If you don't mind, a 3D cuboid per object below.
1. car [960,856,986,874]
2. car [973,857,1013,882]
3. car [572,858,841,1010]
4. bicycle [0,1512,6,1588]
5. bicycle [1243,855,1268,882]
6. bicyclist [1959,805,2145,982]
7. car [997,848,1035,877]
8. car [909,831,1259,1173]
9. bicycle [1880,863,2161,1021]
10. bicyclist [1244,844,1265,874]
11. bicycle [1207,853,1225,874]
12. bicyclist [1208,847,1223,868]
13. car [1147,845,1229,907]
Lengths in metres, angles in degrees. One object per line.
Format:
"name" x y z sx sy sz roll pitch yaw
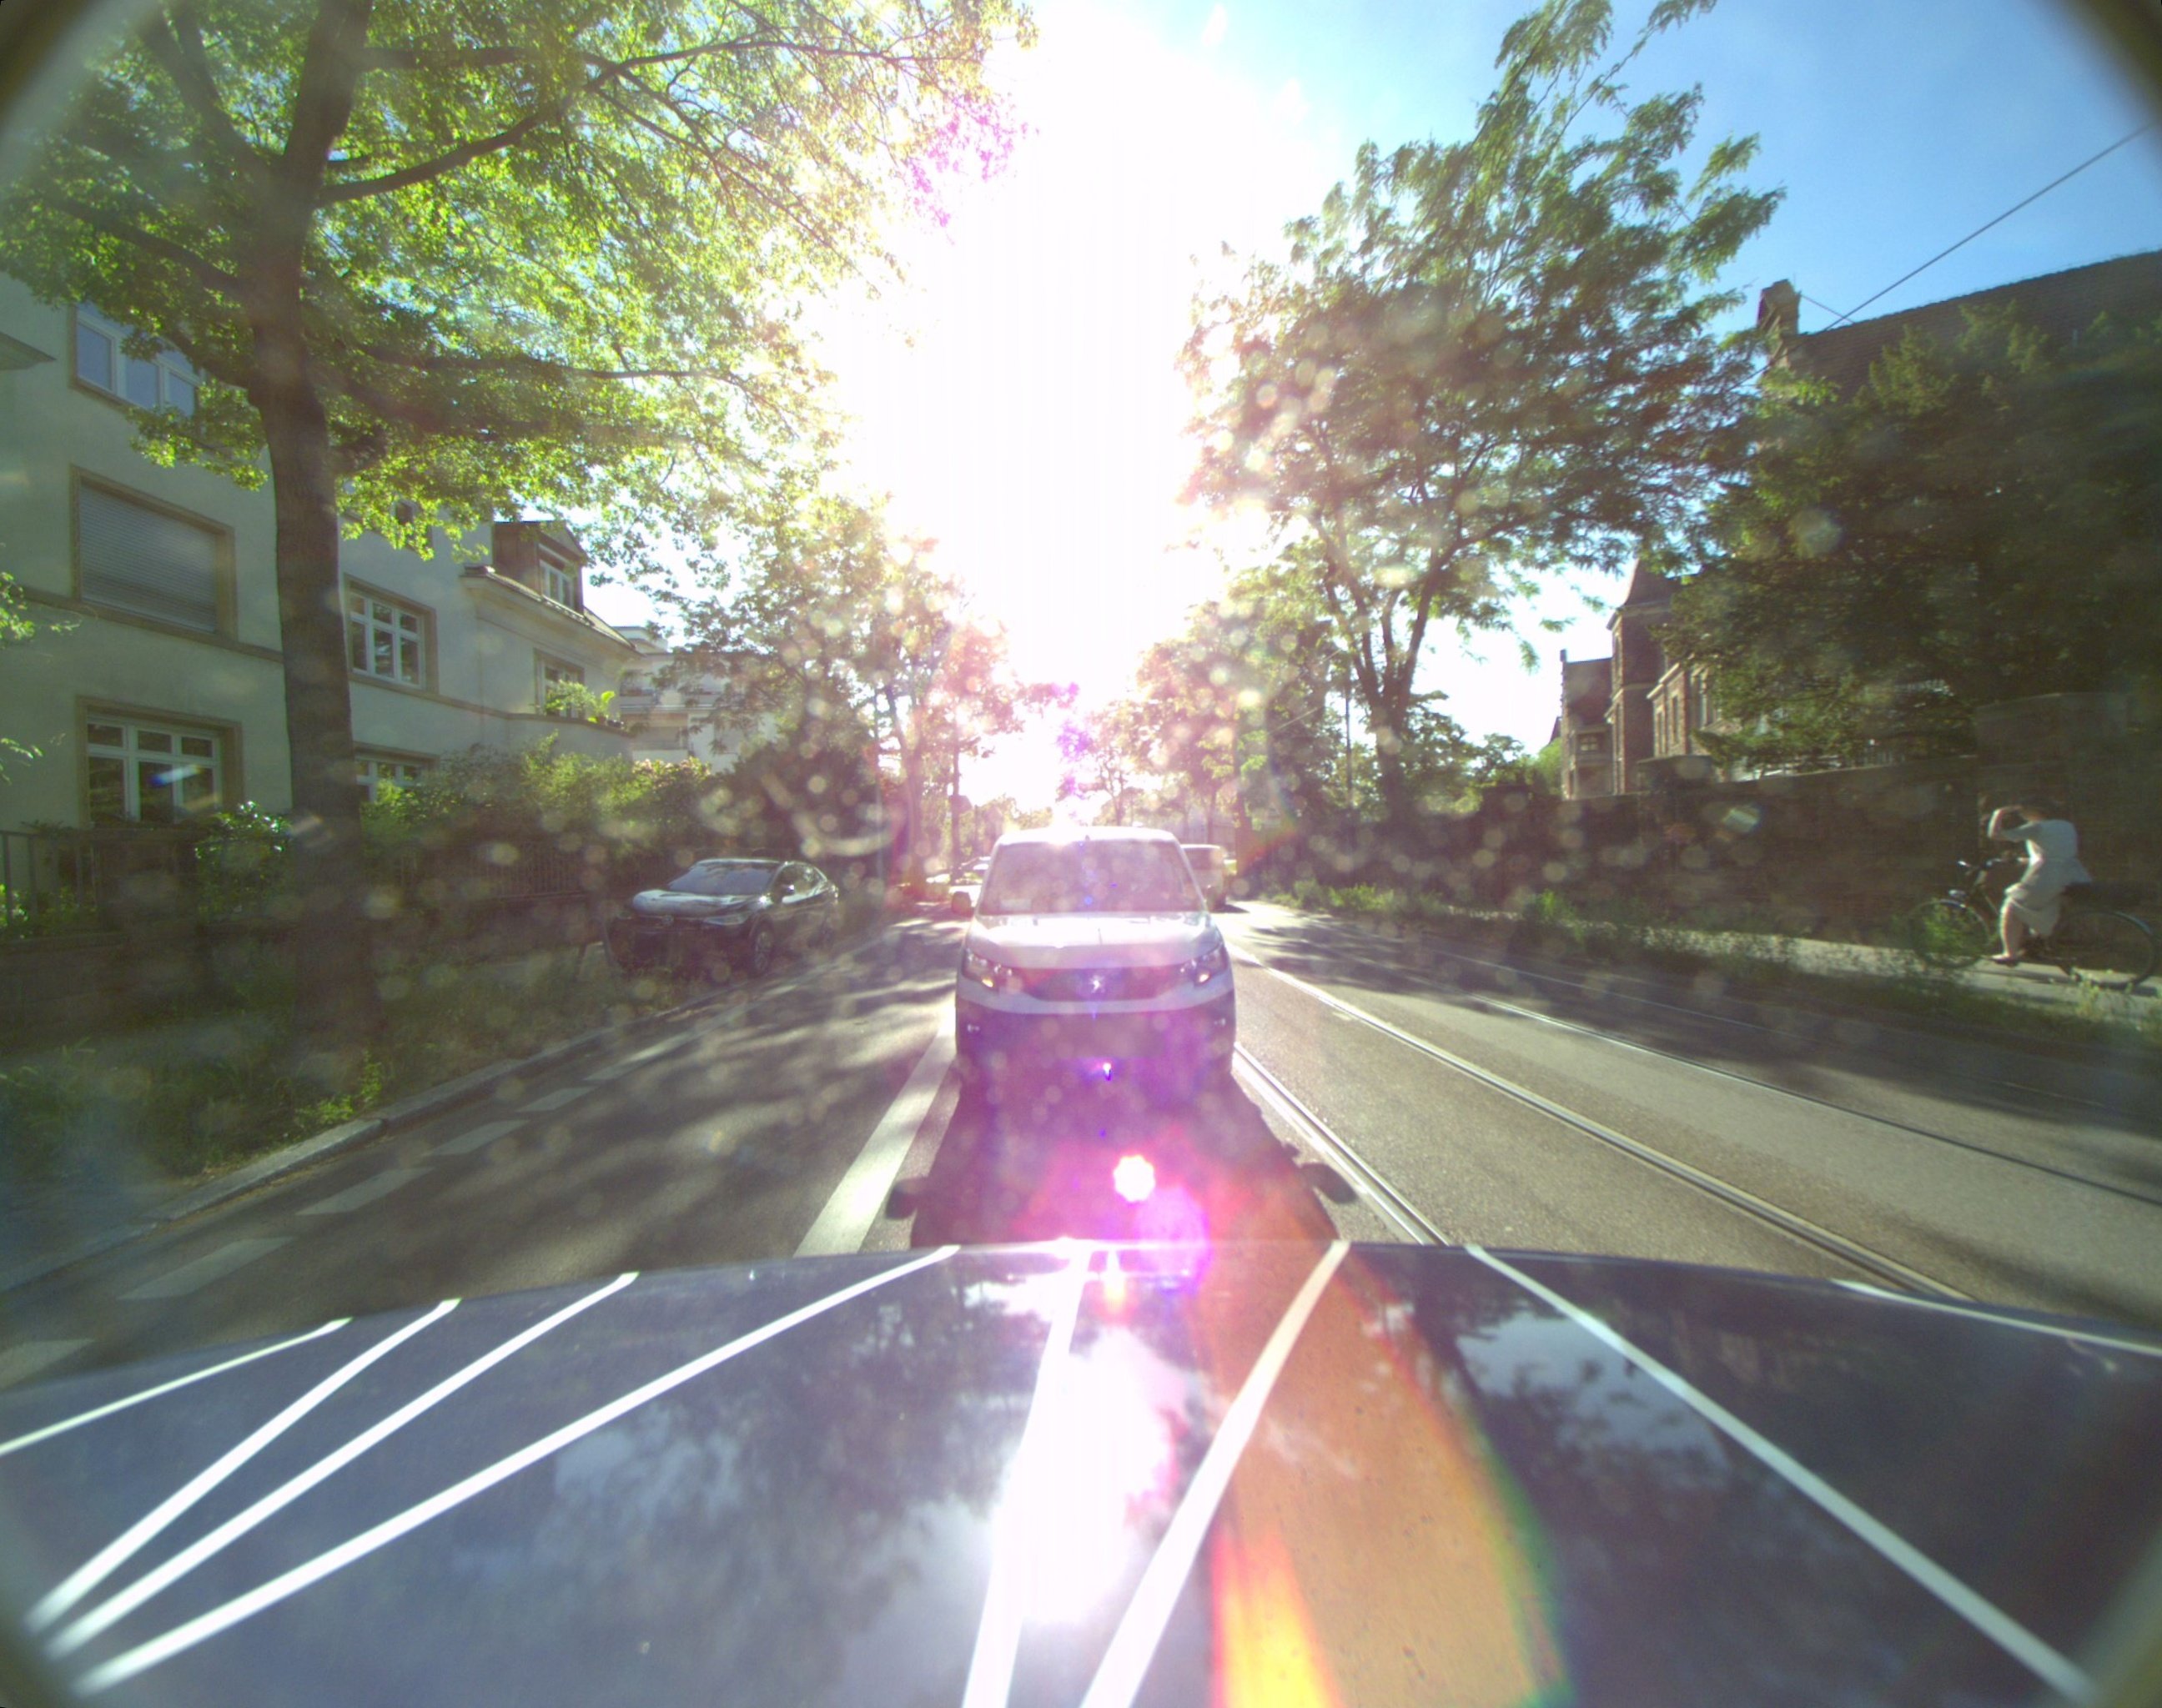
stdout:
"car" -10.004 0.997 70.711 1.741 1.434 3.999 -2 1 1
"car" -5.167 0.883 45.287 1.719 1.332 3.918 -2 1 3
"car" -5.263 1.000 11.452 1.999 1.733 4.169 -2 1 -2
"bicycle" -3.085 1.229 0.794 0.831 1.148 2.094 -3 1 2
"bicycle" 7.513 0.623 32.737 0.684 1.072 1.736 -2 1 1
"bicyclist" 8.926 0.341 7.021 0.744 1.526 0.751 -2 1 1
"car" -4.382 0.526 51.654 1.904 1.819 4.248 -2 1 3
"car" -0.016 0.769 6.230 1.832 1.788 4.333 -1 1 -1
"bicycle" 8.939 0.718 7.104 0.747 1.184 2.088 -2 1 1
"bicyclist" 7.490 0.211 32.883 0.684 1.277 0.871 -2 1 1
"bicycle" 7.504 0.525 42.197 0.684 1.106 1.736 -2 1 1
"bicyclist" 7.490 0.178 42.203 0.684 1.106 0.694 -2 1 1
"car" 3.343 0.640 24.439 1.832 1.800 3.998 -1 1 -3
